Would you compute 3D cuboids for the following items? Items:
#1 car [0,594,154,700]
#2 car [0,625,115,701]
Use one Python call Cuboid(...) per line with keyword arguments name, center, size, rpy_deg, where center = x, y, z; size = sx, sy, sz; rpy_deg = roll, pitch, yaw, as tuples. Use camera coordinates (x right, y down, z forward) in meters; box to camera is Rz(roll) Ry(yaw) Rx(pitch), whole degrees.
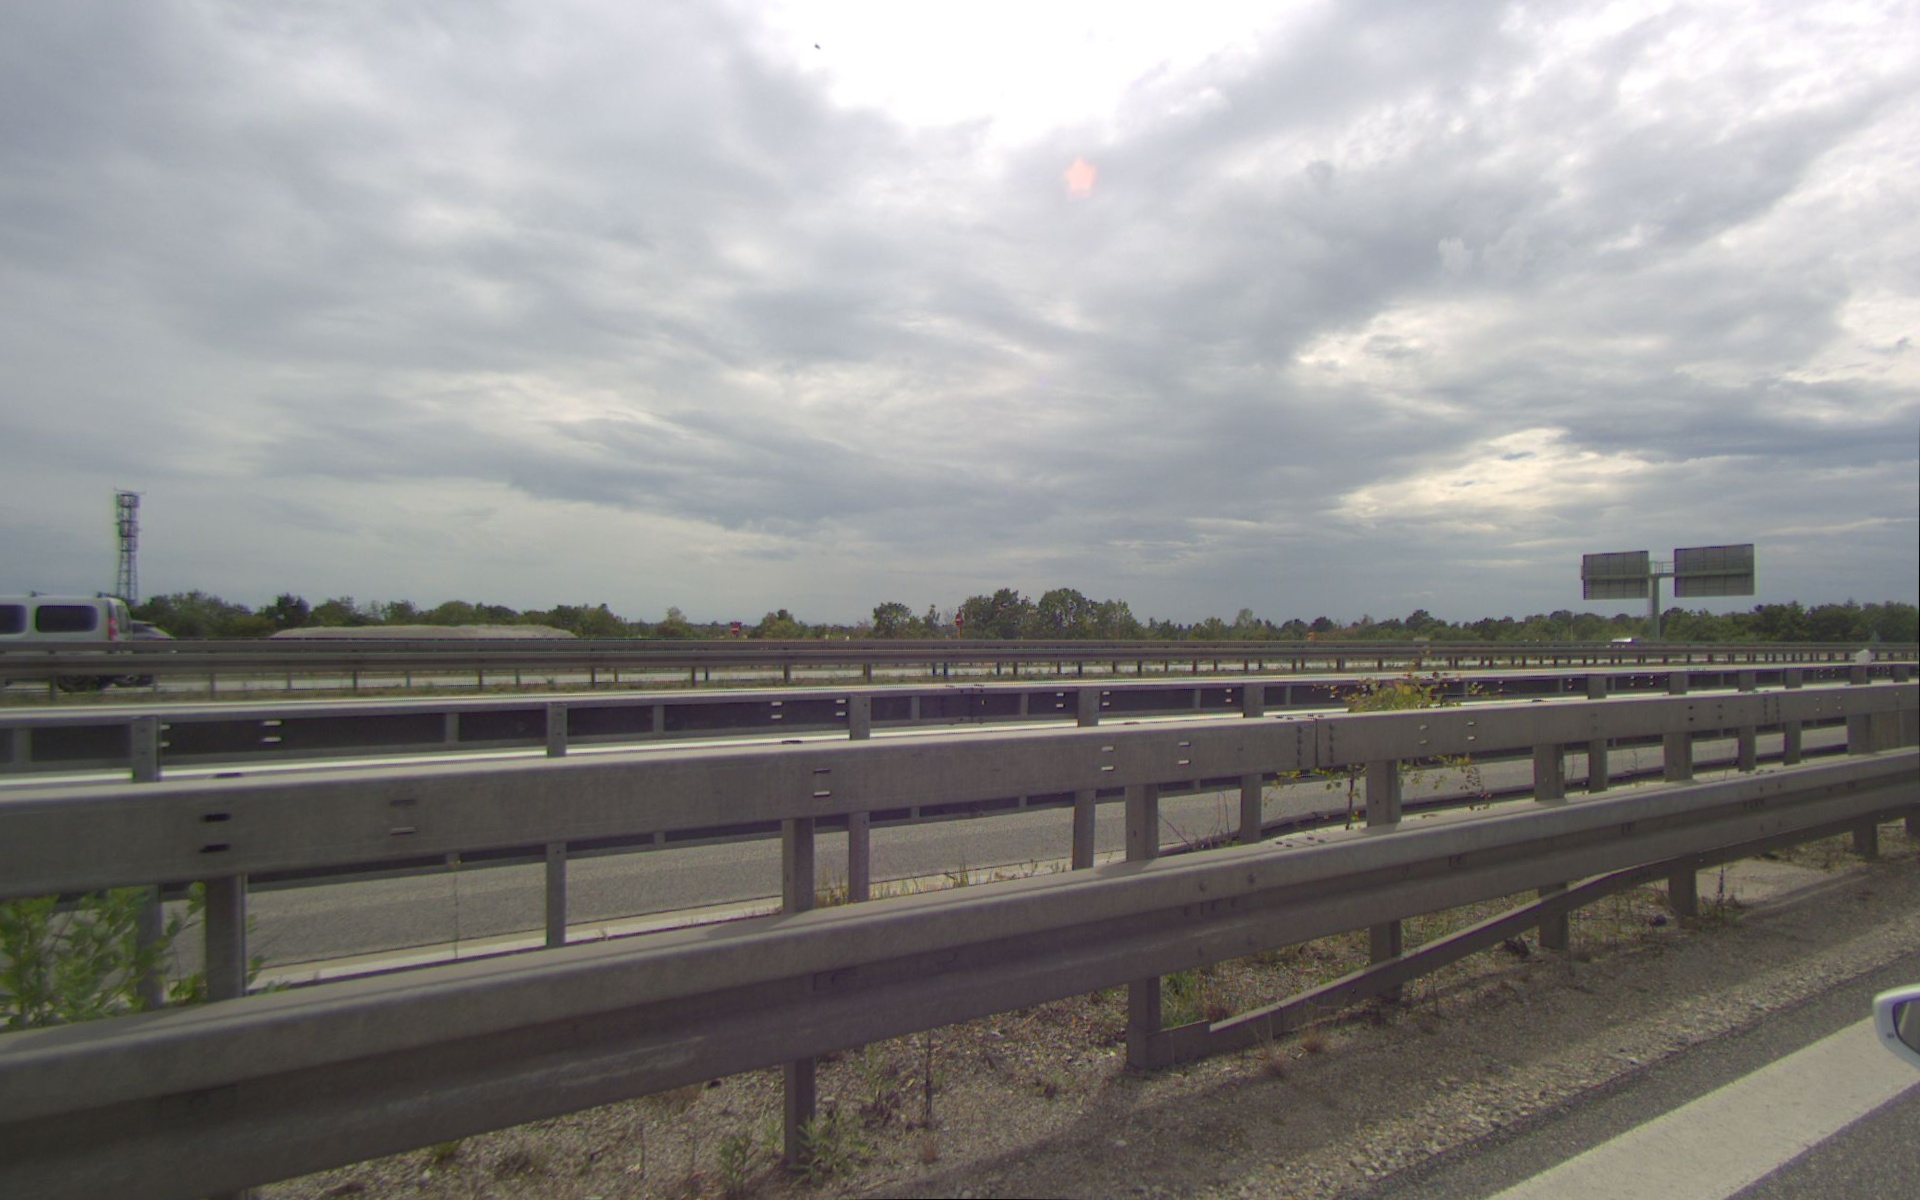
Cuboid(name="car", center=(-18.261, 0.840, 18.735), size=(4.767, 1.818, 1.900), rpy_deg=(1, 3, -31))
Cuboid(name="car", center=(-20.307, 1.294, 20.866), size=(3.953, 1.453, 1.645), rpy_deg=(1, 1, -31))
